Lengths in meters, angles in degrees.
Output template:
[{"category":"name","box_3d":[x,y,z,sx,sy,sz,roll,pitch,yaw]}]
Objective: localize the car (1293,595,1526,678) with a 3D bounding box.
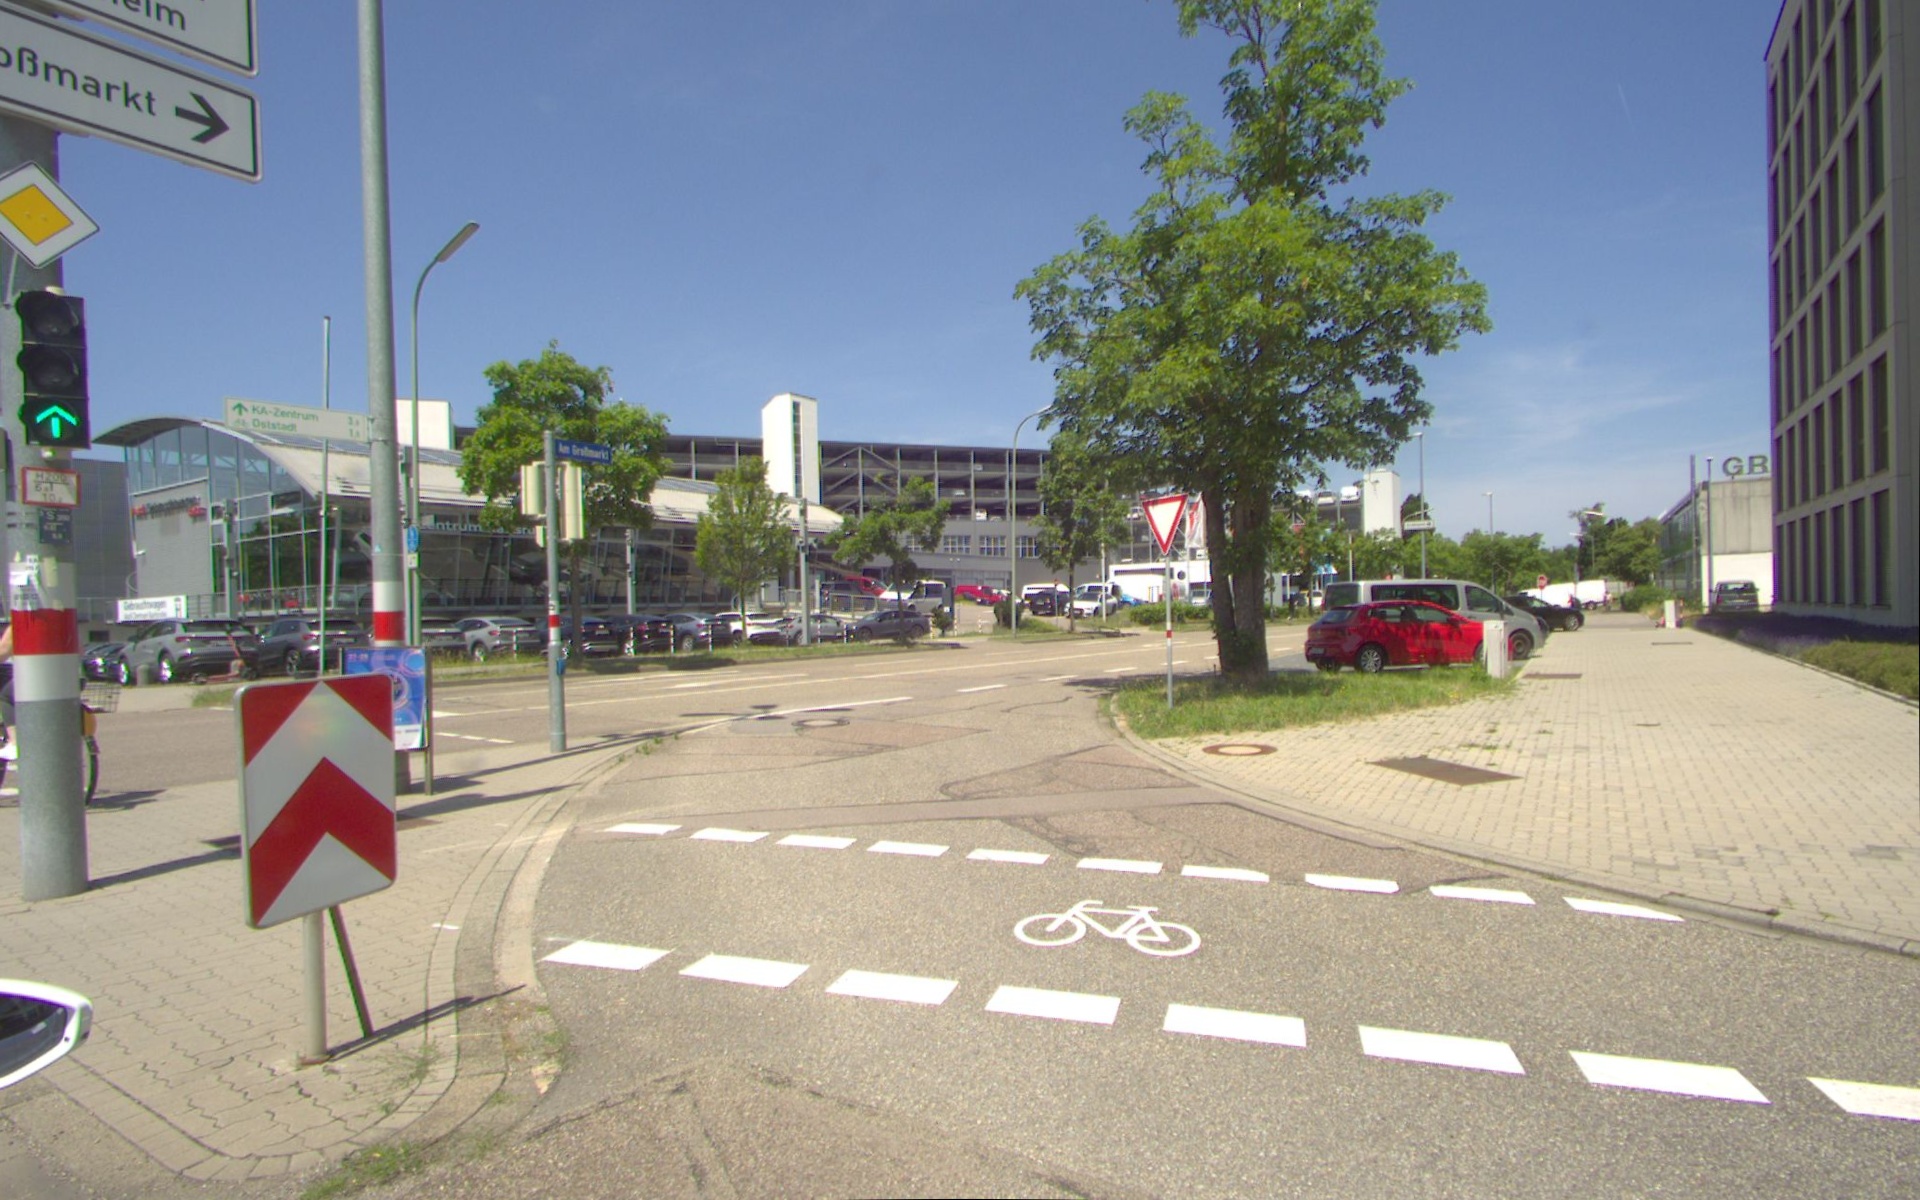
[{"category":"car","box_3d":[8.982,0.722,20.163,3.923,1.451,1.699,-2,-1,-7]}]

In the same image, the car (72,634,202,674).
[{"category":"car","box_3d":[-35.064,2.292,42.756,1.610,1.593,3.977,-2,-3,32]}]

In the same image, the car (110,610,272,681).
[{"category":"car","box_3d":[-19.467,1.165,25.294,4.442,1.578,1.863,-3,-1,33]}]

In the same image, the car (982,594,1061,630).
[{"category":"car","box_3d":[3.135,0.590,50.211,1.888,1.717,4.560,-1,0,35]}]

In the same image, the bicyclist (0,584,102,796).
[{"category":"bicyclist","box_3d":[-7.555,0.705,8.121,0.812,1.626,0.628,-1,-1,26]}]

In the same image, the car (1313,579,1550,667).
[{"category":"car","box_3d":[10.939,0.507,23.328,4.841,1.911,1.918,0,0,-12]}]

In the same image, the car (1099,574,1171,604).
[{"category":"car","box_3d":[11.996,-0.738,68.757,4.521,1.912,1.904,-1,0,31]}]

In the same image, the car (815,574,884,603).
[{"category":"car","box_3d":[-7.291,-0.724,66.021,4.083,1.745,1.907,-1,0,25]}]

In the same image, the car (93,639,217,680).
[{"category":"car","box_3d":[-33.005,2.415,41.153,1.619,1.600,3.642,-2,-3,32]}]

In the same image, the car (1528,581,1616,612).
[{"category":"car","box_3d":[55.101,-0.297,90.210,6.606,2.552,2.206,-2,-2,35]}]

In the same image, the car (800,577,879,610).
[{"category":"car","box_3d":[-6.738,-0.361,56.566,1.888,1.730,4.560,-1,0,35]}]

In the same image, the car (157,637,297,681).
[{"category":"car","box_3d":[-28.248,2.260,38.689,1.824,1.618,3.980,-2,-3,32]}]

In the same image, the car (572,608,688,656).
[{"category":"car","box_3d":[-12.087,1.216,36.697,3.937,1.675,1.844,-2,-3,28]}]

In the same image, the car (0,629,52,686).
[{"category":"car","box_3d":[-25.116,1.397,24.063,1.844,1.407,4.583,-2,-3,34]}]

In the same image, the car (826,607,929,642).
[{"category":"car","box_3d":[-3.886,1.132,47.626,4.554,1.491,1.839,-2,1,-34]}]

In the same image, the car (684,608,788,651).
[{"category":"car","box_3d":[-9.209,1.243,41.136,3.937,1.675,1.844,-2,-3,28]}]

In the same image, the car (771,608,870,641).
[{"category":"car","box_3d":[-6.919,1.216,49.776,4.527,1.491,1.902,-1,0,-34]}]

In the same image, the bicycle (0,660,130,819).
[{"category":"bicycle","box_3d":[-7.600,1.079,8.139,1.865,1.147,0.628,-1,-1,27]}]

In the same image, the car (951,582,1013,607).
[{"category":"car","box_3d":[1.689,-0.420,77.993,4.525,1.821,1.903,-1,0,34]}]

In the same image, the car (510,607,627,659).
[{"category":"car","box_3d":[-13.390,1.138,34.200,3.851,1.676,1.627,-2,-1,28]}]

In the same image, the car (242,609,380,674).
[{"category":"car","box_3d":[-17.826,1.153,27.463,3.946,1.675,1.840,-2,-3,35]}]

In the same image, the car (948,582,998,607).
[{"category":"car","box_3d":[1.022,-0.377,74.508,1.859,1.728,3.977,-1,-1,33]}]

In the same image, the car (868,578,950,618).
[{"category":"car","box_3d":[-2.665,-0.105,53.895,1.885,1.992,5.228,-1,0,29]}]

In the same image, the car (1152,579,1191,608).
[{"category":"car","box_3d":[16.395,-0.494,77.522,1.812,2.039,3.981,-1,-2,31]}]

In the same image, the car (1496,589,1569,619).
[{"category":"car","box_3d":[41.531,0.293,72.667,4.513,2.039,1.990,-2,-2,33]}]

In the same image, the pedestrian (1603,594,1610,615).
[{"category":"pedestrian","box_3d":[47.593,0.333,73.703,0.399,1.580,0.546,-1,1,33]}]

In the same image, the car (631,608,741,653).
[{"category":"car","box_3d":[-10.643,1.223,38.858,3.937,1.675,1.844,-2,-3,28]}]

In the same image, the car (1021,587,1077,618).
[{"category":"car","box_3d":[5.472,0.183,61.203,1.970,1.727,3.983,-1,-2,30]}]

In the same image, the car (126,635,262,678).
[{"category":"car","box_3d":[-30.404,2.230,39.876,1.633,1.642,3.980,-2,-3,32]}]

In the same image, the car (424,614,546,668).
[{"category":"car","box_3d":[-15.116,1.258,31.844,3.758,1.637,1.635,0,0,28]}]

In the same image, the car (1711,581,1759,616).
[{"category":"car","box_3d":[42.186,-0.020,54.592,1.772,1.750,3.978,-1,-2,34]}]

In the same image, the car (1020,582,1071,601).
[{"category":"car","box_3d":[7.892,-0.779,92.094,4.294,1.674,1.904,-1,0,31]}]

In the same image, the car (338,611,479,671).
[{"category":"car","box_3d":[-16.476,1.243,29.914,3.937,1.675,1.844,-2,-3,28]}]

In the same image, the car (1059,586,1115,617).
[{"category":"car","box_3d":[7.676,0.124,60.154,1.970,1.727,3.983,-1,-2,30]}]
